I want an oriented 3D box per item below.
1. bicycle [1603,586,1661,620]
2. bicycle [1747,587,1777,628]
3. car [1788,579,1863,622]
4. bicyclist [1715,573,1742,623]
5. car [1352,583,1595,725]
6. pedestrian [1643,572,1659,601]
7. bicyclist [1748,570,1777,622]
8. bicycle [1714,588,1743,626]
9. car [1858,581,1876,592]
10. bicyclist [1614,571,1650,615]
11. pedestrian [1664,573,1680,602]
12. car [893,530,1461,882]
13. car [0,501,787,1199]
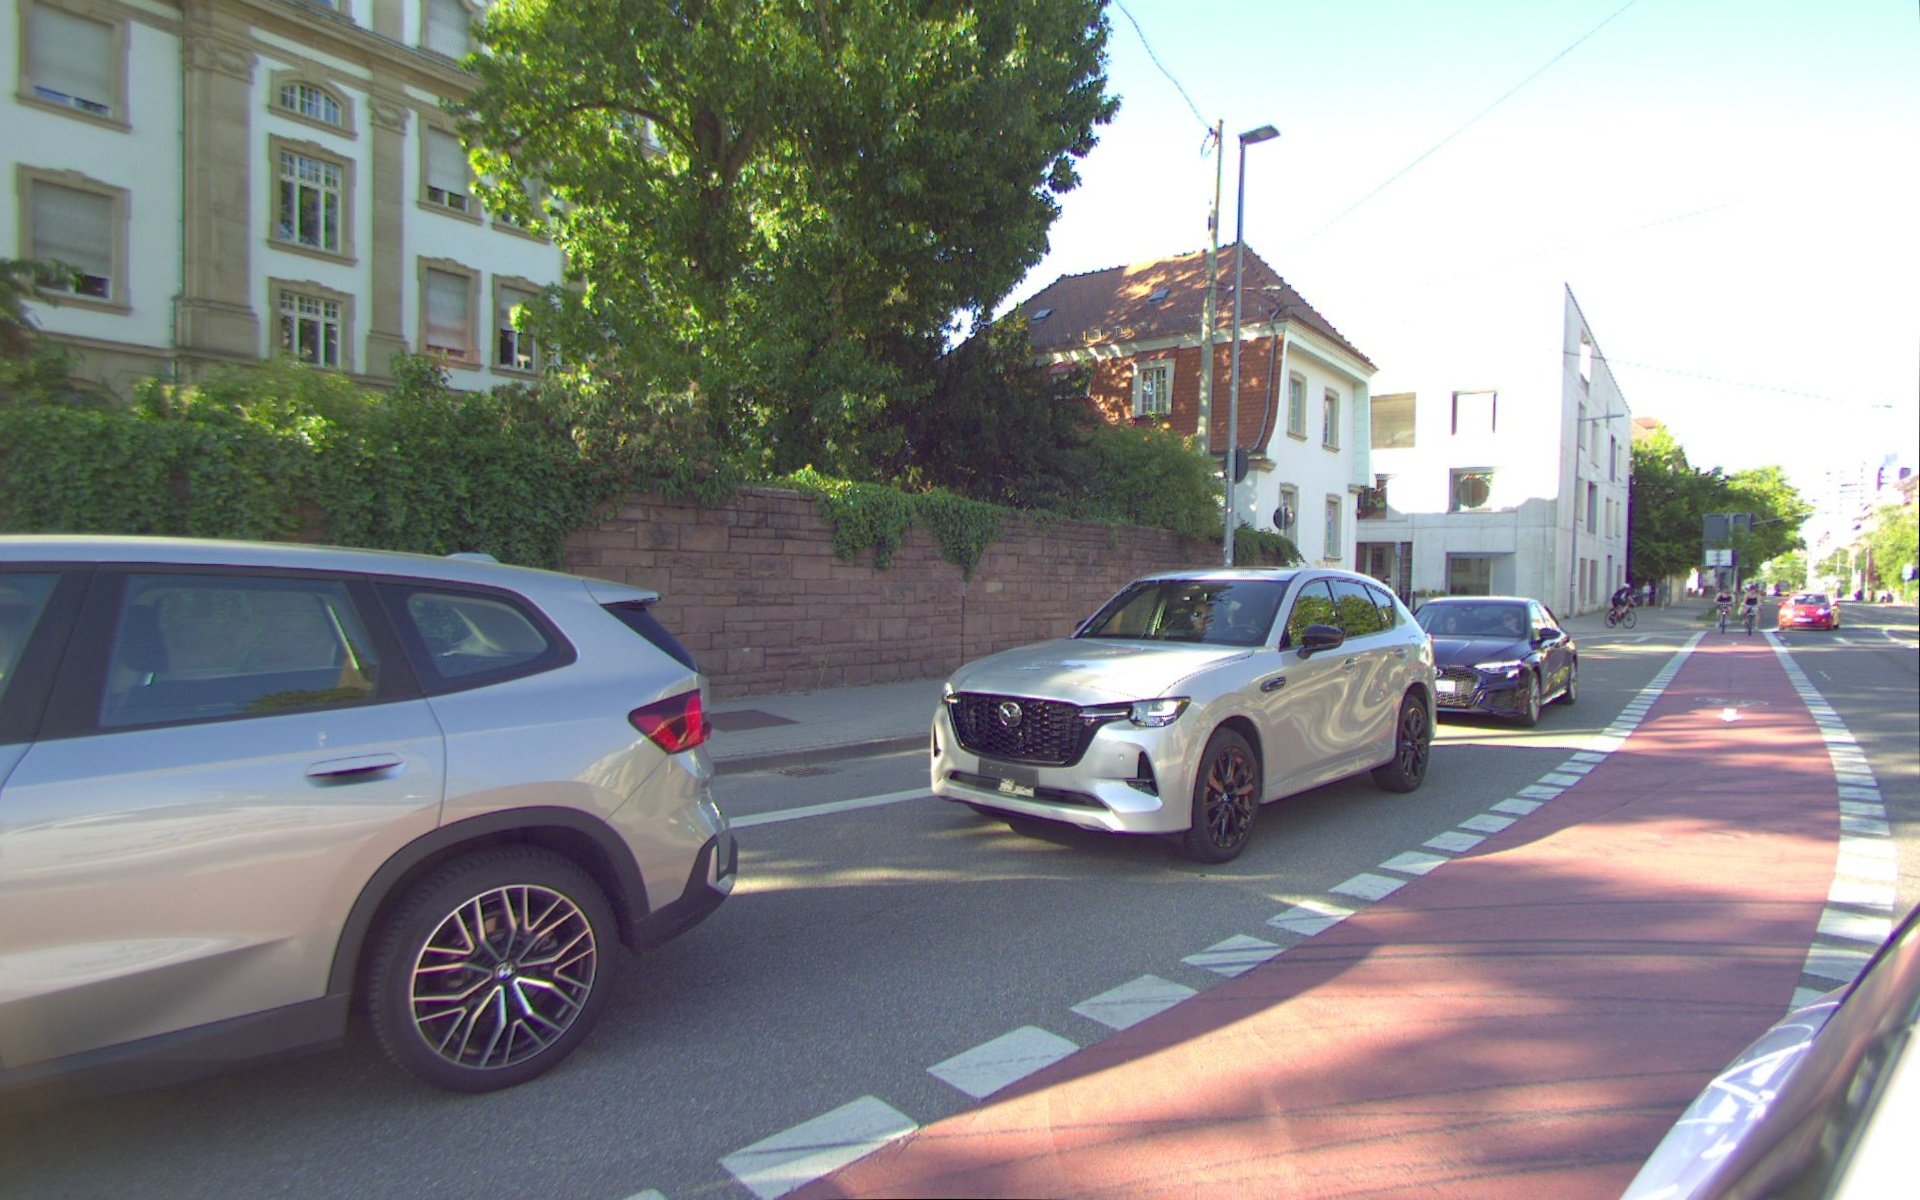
[{"bbox_3d":[25.912,0.126,38.999,2.406,1.266,0.678,0,2,-25],"label":"bicycle"},{"bbox_3d":[26.449,0.218,33.361,0.673,1.265,2.421,2,2,40],"label":"bicycle"},{"bbox_3d":[33.468,0.013,39.091,3.585,1.580,1.648,-1,0,-40],"label":"car"},{"bbox_3d":[26.794,-0.080,35.273,0.673,1.667,1.014,2,2,40],"label":"bicyclist"},{"bbox_3d":[6.415,0.525,12.438,1.782,1.451,3.941,0,1,41],"label":"car"},{"bbox_3d":[40.571,-0.797,59.381,0.673,1.668,0.806,1,1,40],"label":"pedestrian"},{"bbox_3d":[26.442,-0.146,33.336,0.673,1.667,1.014,2,2,40],"label":"bicyclist"},{"bbox_3d":[26.848,0.227,35.343,0.673,1.265,2.421,2,2,40],"label":"bicycle"},{"bbox_3d":[136.217,-2.029,152.059,1.640,1.580,3.602,0,0,36],"label":"car"},{"bbox_3d":[25.876,-0.270,38.968,1.008,1.667,0.677,0,2,-25],"label":"bicyclist"},{"bbox_3d":[41.281,-0.753,58.703,0.673,1.668,0.806,1,1,40],"label":"pedestrian"},{"bbox_3d":[1.812,0.491,7.228,1.940,1.713,4.460,0,1,44],"label":"car"},{"bbox_3d":[-2.829,0.576,2.957,4.248,1.614,1.792,0,0,-36],"label":"car"}]
